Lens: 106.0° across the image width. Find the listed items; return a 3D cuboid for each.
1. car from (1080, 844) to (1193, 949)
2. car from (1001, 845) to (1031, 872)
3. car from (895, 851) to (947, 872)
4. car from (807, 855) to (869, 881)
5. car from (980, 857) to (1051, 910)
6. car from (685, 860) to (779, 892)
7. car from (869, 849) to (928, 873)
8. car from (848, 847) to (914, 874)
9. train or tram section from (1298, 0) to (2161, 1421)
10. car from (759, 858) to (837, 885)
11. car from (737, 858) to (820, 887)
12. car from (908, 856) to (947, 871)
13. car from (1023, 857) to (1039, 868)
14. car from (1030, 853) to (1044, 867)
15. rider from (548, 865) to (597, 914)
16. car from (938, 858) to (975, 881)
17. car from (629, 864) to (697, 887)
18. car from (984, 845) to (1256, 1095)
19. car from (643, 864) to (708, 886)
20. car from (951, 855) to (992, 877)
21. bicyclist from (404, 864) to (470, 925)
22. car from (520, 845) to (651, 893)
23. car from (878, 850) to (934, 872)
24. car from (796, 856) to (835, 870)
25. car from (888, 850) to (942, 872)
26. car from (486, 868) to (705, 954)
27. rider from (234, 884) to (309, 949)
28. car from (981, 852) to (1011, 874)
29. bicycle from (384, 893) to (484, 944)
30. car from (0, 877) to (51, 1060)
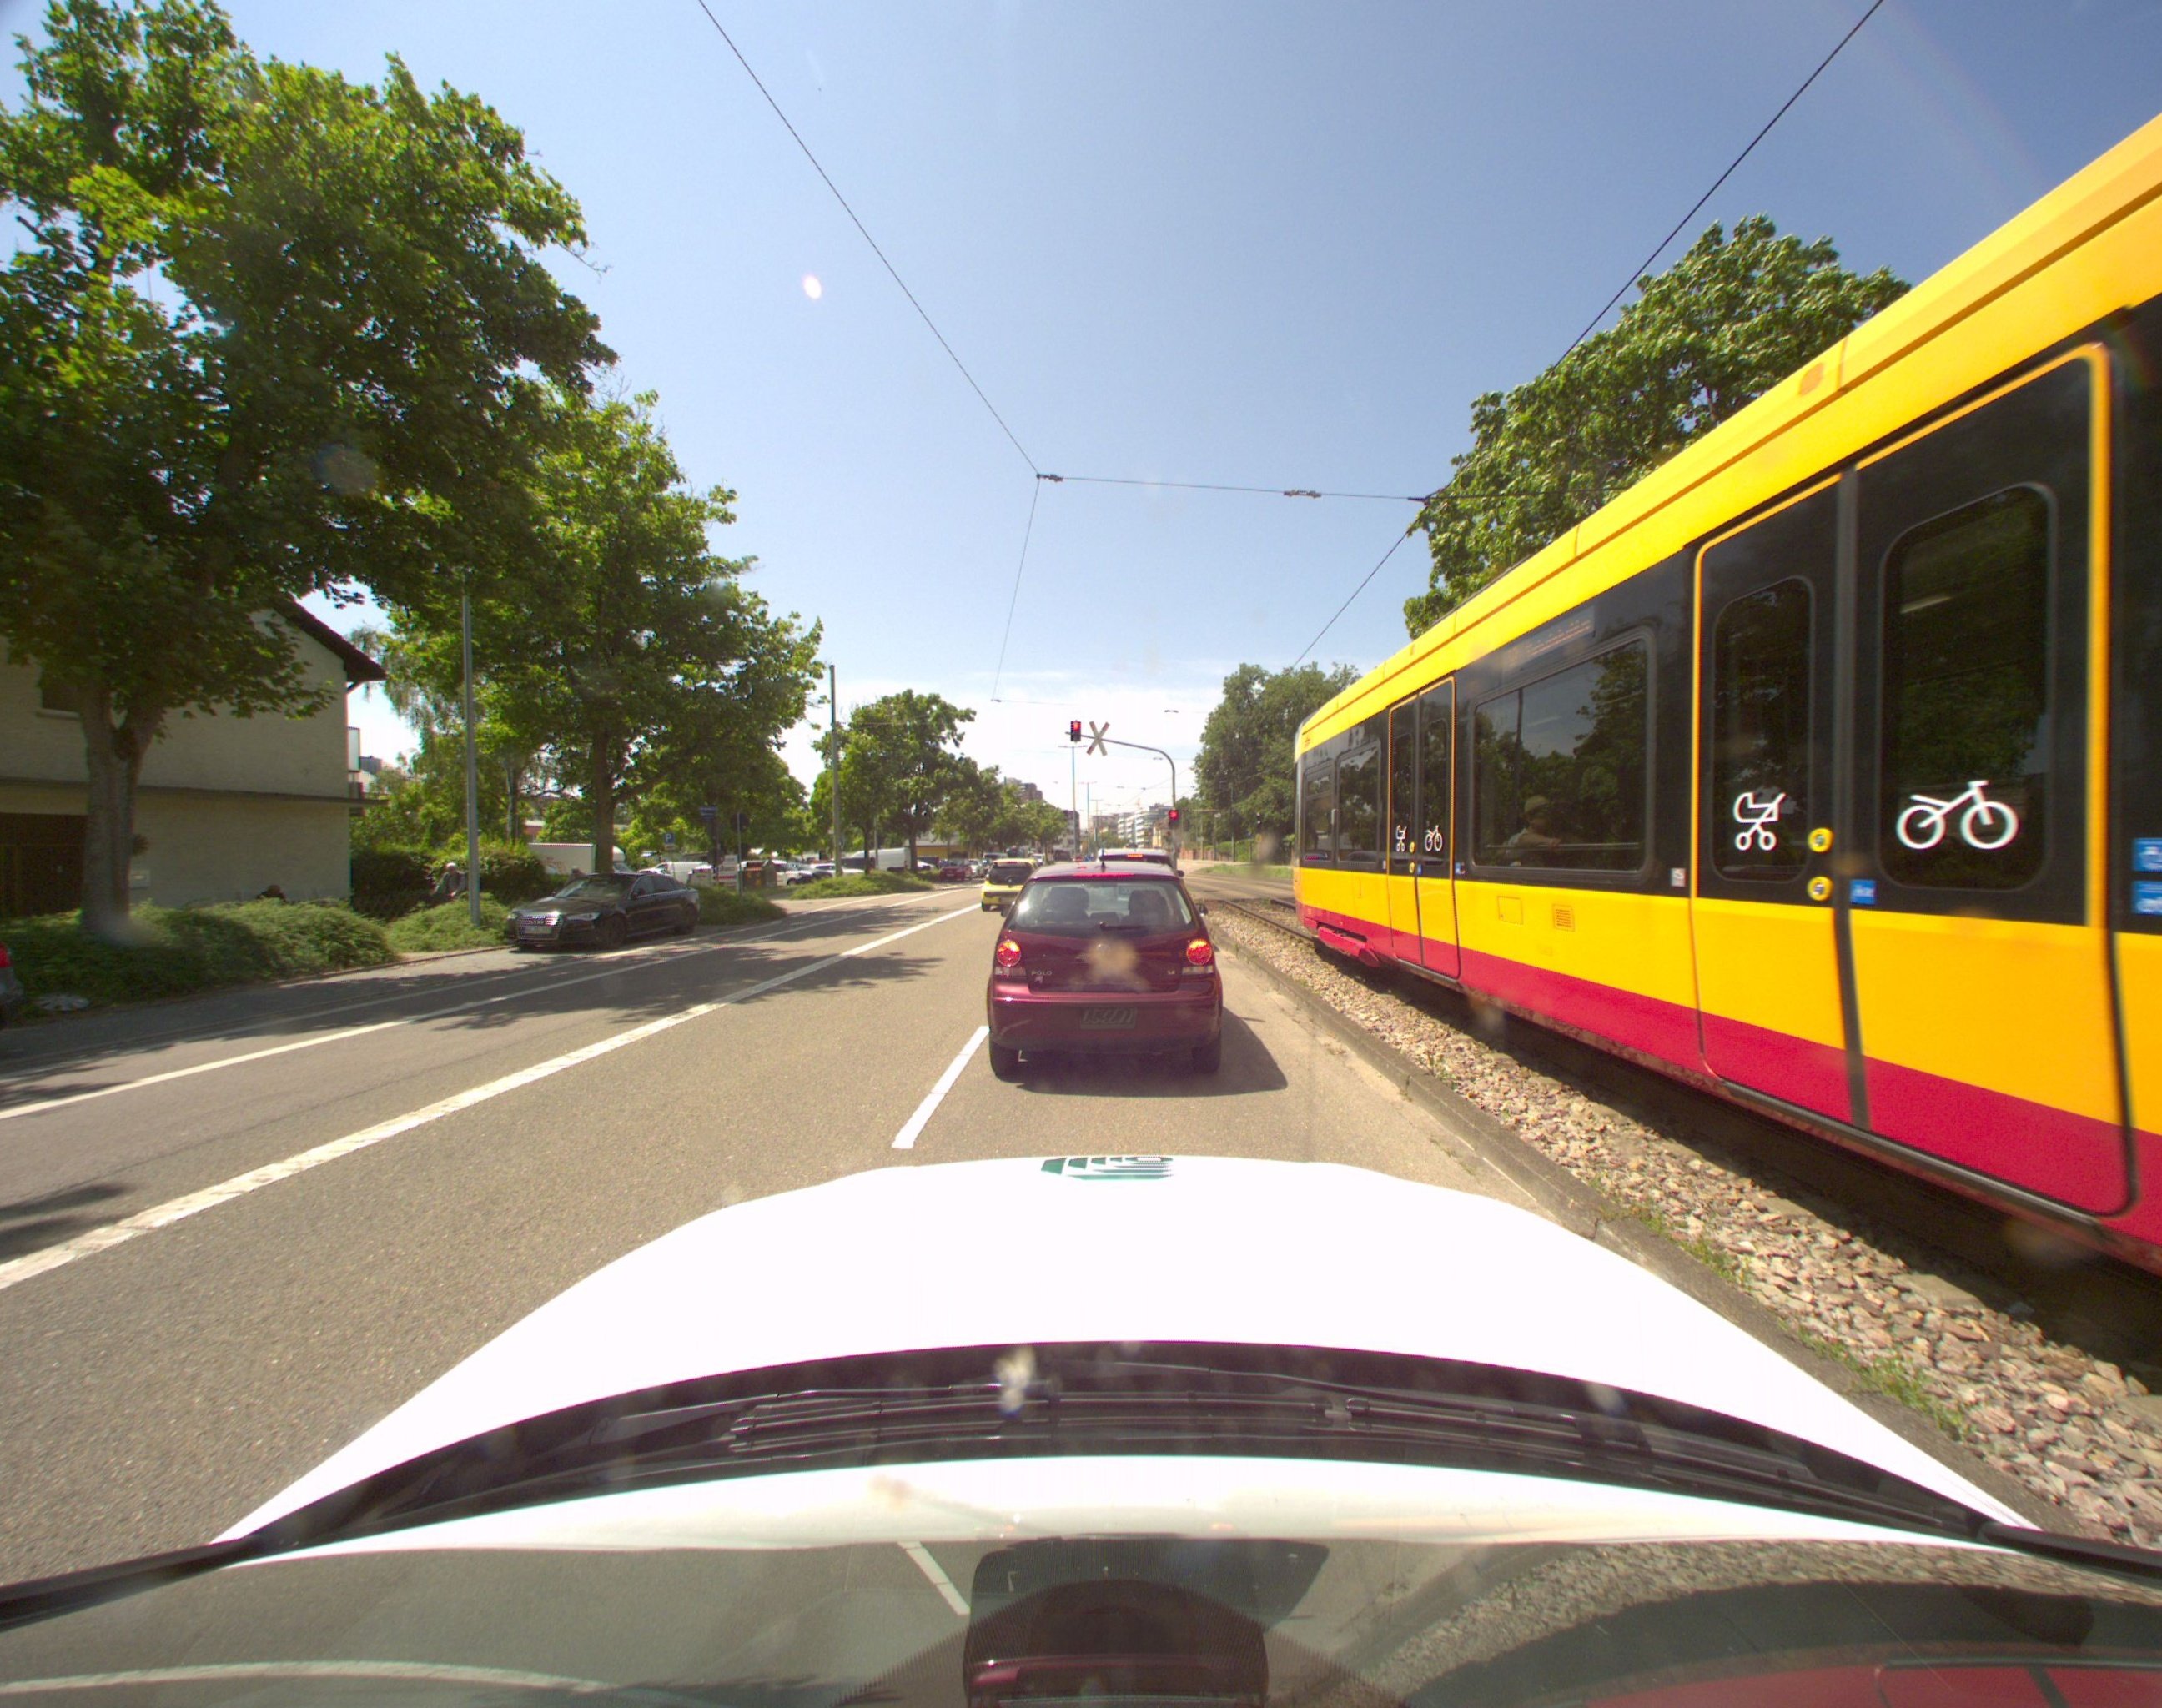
[{"bbox_3d":[0.914,0.655,14.753,1.770,1.647,4.001,0,0,1],"label":"car"},{"bbox_3d":[-6.692,0.471,84.579,2.352,2.692,5.311,0,-1,3],"label":"car"},{"bbox_3d":[-17.242,0.789,87.935,5.076,2.244,2.380,0,-1,3],"label":"car"},{"bbox_3d":[-18.174,1.035,61.103,3.973,1.746,1.998,-2,0,0],"label":"car"},{"bbox_3d":[-1.820,0.800,23.589,1.684,1.411,3.516,0,0,1],"label":"car"},{"bbox_3d":[-19.345,1.212,45.276,4.330,1.585,1.912,-2,0,-1],"label":"car"},{"bbox_3d":[-17.822,0.685,79.690,5.076,2.244,2.380,0,-1,3],"label":"car"},{"bbox_3d":[-17.549,0.590,71.536,5.076,2.244,2.380,0,-1,3],"label":"car"},{"bbox_3d":[4.122,-0.454,5.669,2.730,3.609,10.957,0,0,2],"label":"train or tram section"},{"bbox_3d":[-18.406,1.113,53.069,4.319,1.585,1.917,-2,0,8],"label":"car"},{"bbox_3d":[-18.617,1.125,50.242,4.319,1.585,1.917,-2,0,8],"label":"car"},{"bbox_3d":[-17.399,1.107,92.347,4.004,1.617,1.818,0,-1,3],"label":"car"},{"bbox_3d":[-6.195,1.065,101.489,1.609,1.441,4.000,0,-1,1],"label":"car"},{"bbox_3d":[-5.877,0.831,107.856,1.771,1.828,3.995,1,-1,-3],"label":"car"},{"bbox_3d":[-14.426,0.998,23.131,0.805,1.360,0.829,0,-1,5],"label":"rider"},{"bbox_3d":[-8.323,1.031,54.760,1.655,1.497,4.004,0,-1,4],"label":"car"},{"bbox_3d":[-30.409,1.540,59.347,3.982,1.653,1.812,1,-1,-7],"label":"car"},{"bbox_3d":[0.287,0.723,7.072,1.666,1.521,4.001,1,0,1],"label":"car"},{"bbox_3d":[-30.678,1.566,61.764,3.982,1.653,1.812,1,-1,-7],"label":"car"},{"bbox_3d":[-8.217,0.904,61.299,1.965,1.601,4.566,0,-1,6],"label":"car"},{"bbox_3d":[-14.796,0.911,18.719,0.805,1.374,0.829,0,-1,5],"label":"bicyclist"},{"bbox_3d":[-31.437,0.955,51.814,6.828,2.965,2.364,0,-1,0],"label":"car"},{"bbox_3d":[-17.727,0.724,82.877,5.076,2.244,2.380,0,-1,3],"label":"car"},{"bbox_3d":[-31.571,1.078,96.931,4.006,1.617,1.816,0,-1,0],"label":"car"},{"bbox_3d":[-17.392,0.756,85.343,5.076,2.244,2.380,0,-1,3],"label":"car"},{"bbox_3d":[-9.854,1.068,17.019,1.812,1.476,4.450,0,0,1],"label":"car"},{"bbox_3d":[-17.961,1.371,18.079,0.820,1.374,0.814,-2,0,10],"label":"rider"},{"bbox_3d":[-7.444,0.795,71.542,1.774,1.881,4.791,0,-1,5],"label":"car"},{"bbox_3d":[-14.807,1.453,18.694,0.697,1.030,1.831,0,-1,5],"label":"bicycle"},{"bbox_3d":[-10.286,0.997,5.288,1.812,1.564,4.182,0,0,1],"label":"car"}]
